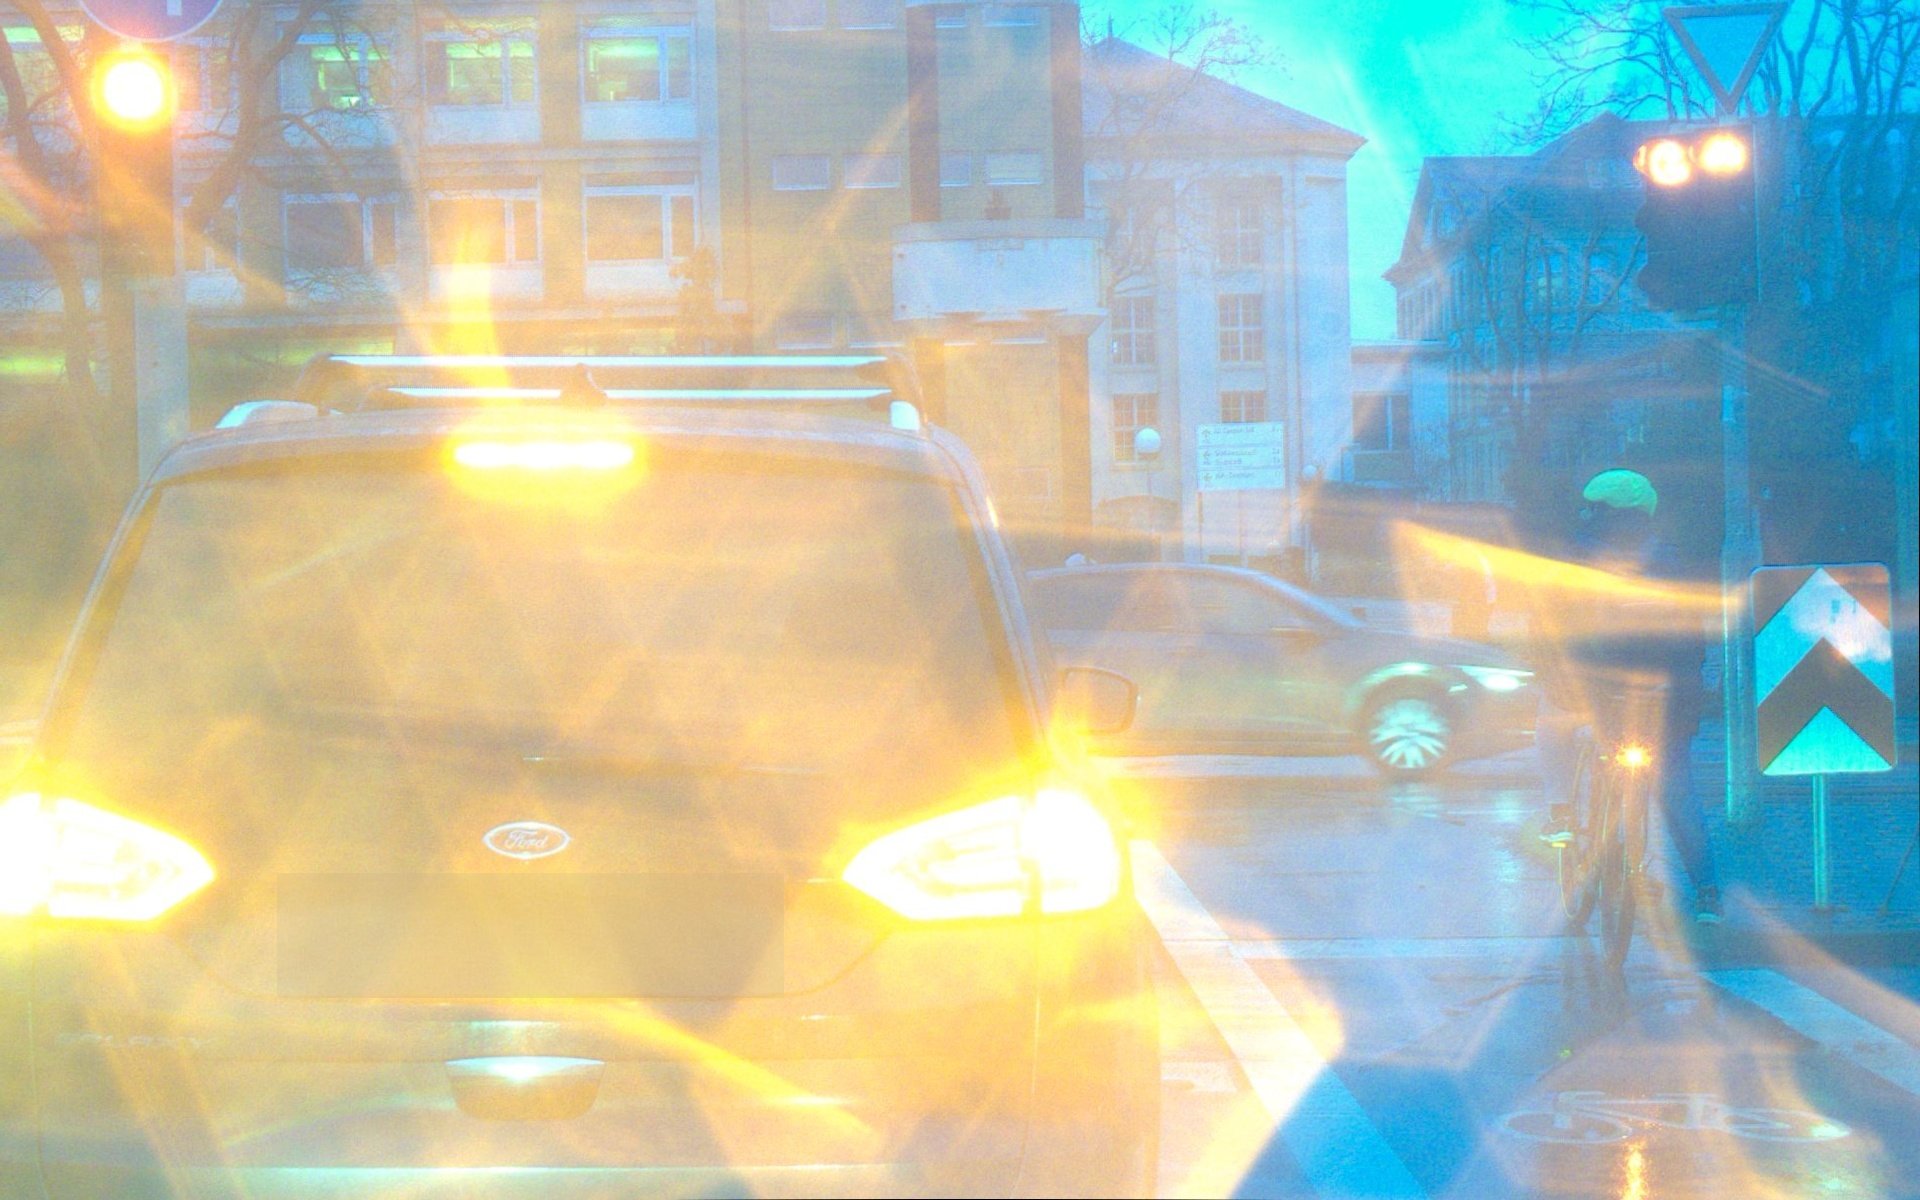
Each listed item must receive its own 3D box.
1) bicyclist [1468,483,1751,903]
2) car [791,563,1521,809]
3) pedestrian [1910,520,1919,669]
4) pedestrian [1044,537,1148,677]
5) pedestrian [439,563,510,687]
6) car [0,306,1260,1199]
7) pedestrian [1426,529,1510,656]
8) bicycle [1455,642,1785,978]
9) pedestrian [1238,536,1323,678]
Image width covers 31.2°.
[{"bbox_3d":[2.343,0.318,12.518,0.783,1.448,1.134,1,0,-1],"label":"bicyclist"},{"bbox_3d":[1.346,0.559,22.904,4.580,1.472,1.810,-2,0,13],"label":"car"},{"bbox_3d":[14.078,-0.092,48.565,0.882,2.106,0.896,-2,1,-17],"label":"pedestrian"},{"bbox_3d":[1.739,0.079,43.740,1.136,1.714,0.981,-2,1,10],"label":"pedestrian"},{"bbox_3d":[-6.518,0.328,46.196,0.759,1.622,0.721,-2,1,3],"label":"pedestrian"},{"bbox_3d":[-0.635,0.492,6.555,1.993,1.783,4.000,1,1,-1],"label":"car"},{"bbox_3d":[6.355,-0.101,43.053,0.924,1.527,1.043,-2,1,4],"label":"pedestrian"},{"bbox_3d":[2.349,0.714,12.478,0.783,1.071,1.957,1,1,-1],"label":"bicycle"},{"bbox_3d":[4.179,0.088,44.736,0.997,1.793,0.919,-2,1,9],"label":"pedestrian"}]
